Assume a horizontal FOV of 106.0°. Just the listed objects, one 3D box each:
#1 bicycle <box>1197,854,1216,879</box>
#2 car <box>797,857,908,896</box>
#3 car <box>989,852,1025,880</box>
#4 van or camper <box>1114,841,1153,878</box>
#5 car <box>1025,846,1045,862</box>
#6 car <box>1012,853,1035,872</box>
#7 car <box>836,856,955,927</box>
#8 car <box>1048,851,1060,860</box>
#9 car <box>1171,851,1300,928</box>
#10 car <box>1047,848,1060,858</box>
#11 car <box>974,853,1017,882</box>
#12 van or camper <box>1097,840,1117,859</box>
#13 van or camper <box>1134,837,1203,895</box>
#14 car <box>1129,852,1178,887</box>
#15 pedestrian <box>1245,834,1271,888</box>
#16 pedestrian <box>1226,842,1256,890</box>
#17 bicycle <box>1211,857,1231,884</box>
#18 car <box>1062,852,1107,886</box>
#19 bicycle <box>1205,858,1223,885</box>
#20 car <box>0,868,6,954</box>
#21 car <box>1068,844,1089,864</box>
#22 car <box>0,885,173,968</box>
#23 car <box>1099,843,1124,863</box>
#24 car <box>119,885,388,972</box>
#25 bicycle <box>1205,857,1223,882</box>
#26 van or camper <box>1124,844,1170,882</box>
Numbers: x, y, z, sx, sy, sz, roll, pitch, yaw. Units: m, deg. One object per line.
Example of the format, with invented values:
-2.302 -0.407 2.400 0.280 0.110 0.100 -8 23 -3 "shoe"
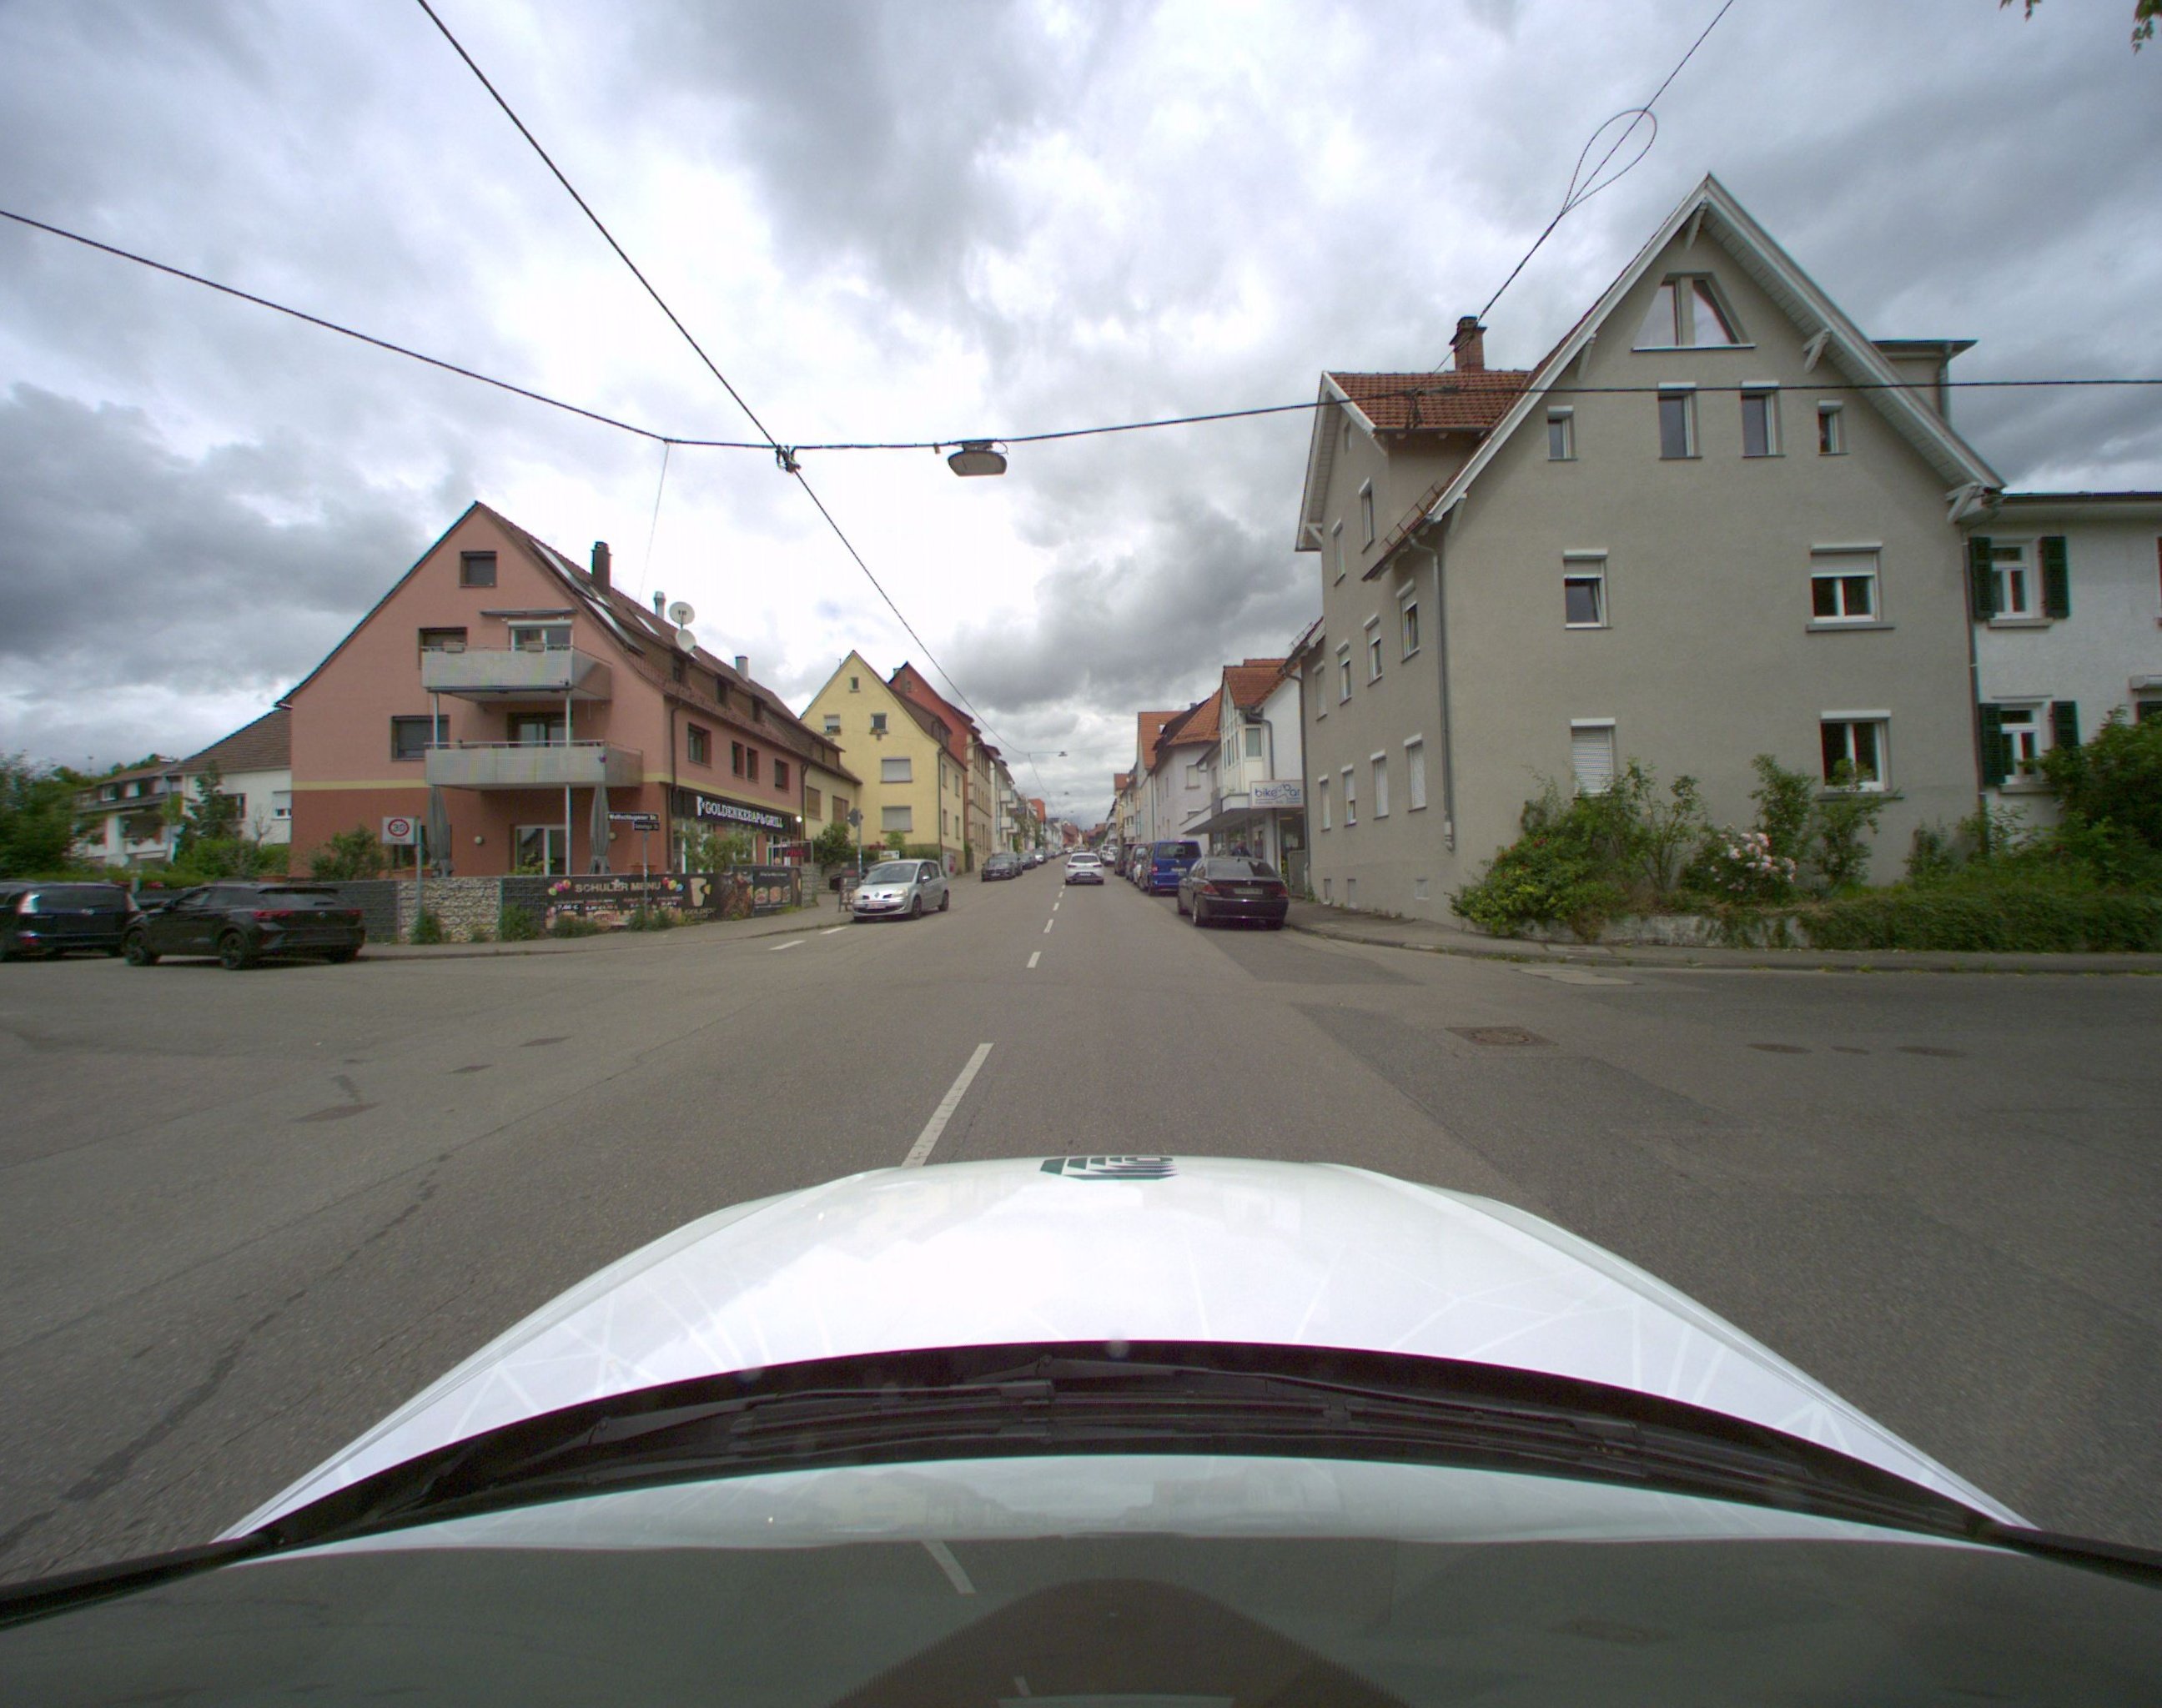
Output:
6.002 0.565 38.844 0.294 1.113 1.586 -3 0 29 "bicycle"
-9.939 0.998 35.605 4.215 1.472 1.999 -3 -3 0 "car"
-4.979 0.744 55.140 1.988 1.650 4.551 -5 0 -1 "car"
3.129 0.307 49.545 1.987 2.065 5.943 1 0 0 "van or camper"
-5.088 0.001 91.174 1.987 1.651 3.999 -2 0 0 "car"
-4.935 0.704 70.434 1.637 1.473 4.178 -4 0 0 "car"
-4.965 0.942 22.400 1.824 1.578 4.039 -5 0 7 "car"
-5.020 0.231 152.057 1.987 1.651 4.178 -2 0 0 "car"
3.350 0.706 18.635 1.987 1.517 4.890 0 0 -1 "car"
-4.470 -0.174 134.592 1.987 1.651 4.178 -2 0 0 "car"
-5.066 0.763 48.914 1.987 1.472 4.244 -5 0 1 "car"
2.936 -0.492 93.807 1.936 2.054 4.559 -1 0 -2 "van or camper"
3.114 0.401 29.926 1.921 1.925 4.828 -1 0 -1 "van or camper"
3.133 0.655 36.003 1.709 1.436 4.637 0 0 -1 "car"
6.682 0.279 30.784 0.752 2.013 0.623 -1 0 34 "pedestrian"
5.796 0.438 29.537 0.862 1.725 0.623 -1 0 34 "pedestrian"
6.043 0.695 35.030 0.335 1.113 1.476 -3 0 29 "bicycle"
0.167 0.648 37.749 1.934 1.439 4.000 -1 0 0 "car"
5.792 0.740 35.429 0.247 1.113 1.476 -3 0 29 "bicycle"
-27.400 1.391 18.933 3.951 2.014 2.011 -3 -3 24 "car"
-0.280 -0.028 84.720 2.146 2.013 3.998 0 0 -1 "car"
-21.946 1.517 17.337 4.367 1.563 2.010 -3 -3 20 "car"
2.630 -0.078 71.677 1.935 1.693 3.998 1 0 -2 "car"
-15.969 1.420 15.754 4.367 1.472 2.010 -3 -3 20 "car"
6.139 0.704 37.542 0.247 1.113 1.476 -3 0 29 "bicycle"
3.327 0.424 41.858 1.866 1.828 4.678 0 0 -1 "van or camper"
